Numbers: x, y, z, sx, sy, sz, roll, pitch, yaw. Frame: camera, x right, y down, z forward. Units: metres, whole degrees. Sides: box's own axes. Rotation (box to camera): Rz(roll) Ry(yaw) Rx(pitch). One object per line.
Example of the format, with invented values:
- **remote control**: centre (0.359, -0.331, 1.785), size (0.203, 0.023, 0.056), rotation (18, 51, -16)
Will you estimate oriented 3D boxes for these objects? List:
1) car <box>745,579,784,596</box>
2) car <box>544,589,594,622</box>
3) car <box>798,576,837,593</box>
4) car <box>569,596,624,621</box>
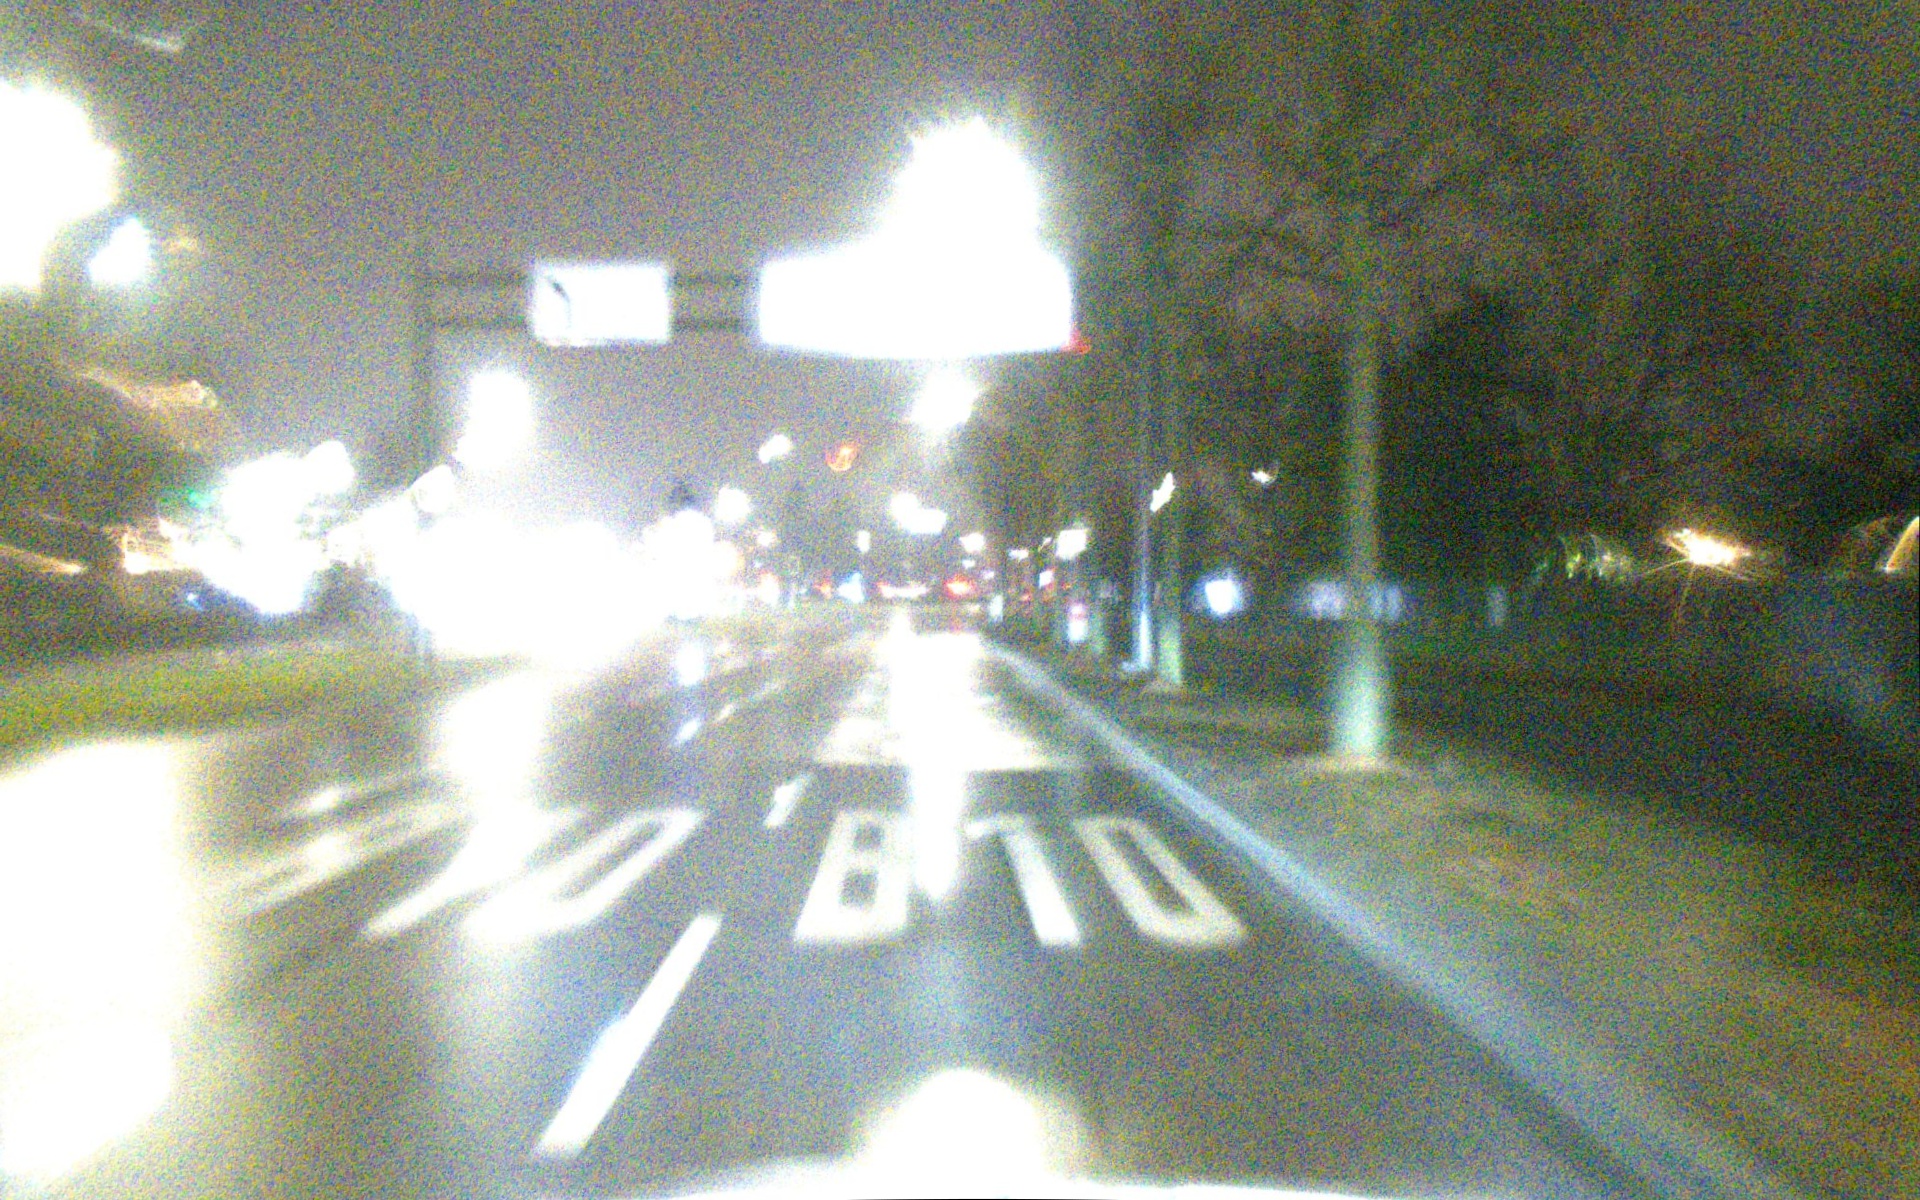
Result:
- **car**: centre (-19.794, -1.229, 167.477), size (3.912, 1.644, 1.833), rotation (1, 1, -8)
- **car**: centre (-21.811, 0.274, 92.467), size (1.792, 1.743, 4.440), rotation (1, 1, -1)
- **car**: centre (-14.367, -1.594, 167.238), size (3.874, 1.606, 1.736), rotation (1, 1, -4)
- **car**: centre (-23.997, 0.548, 109.181), size (1.821, 1.490, 3.936), rotation (1, 1, -44)
